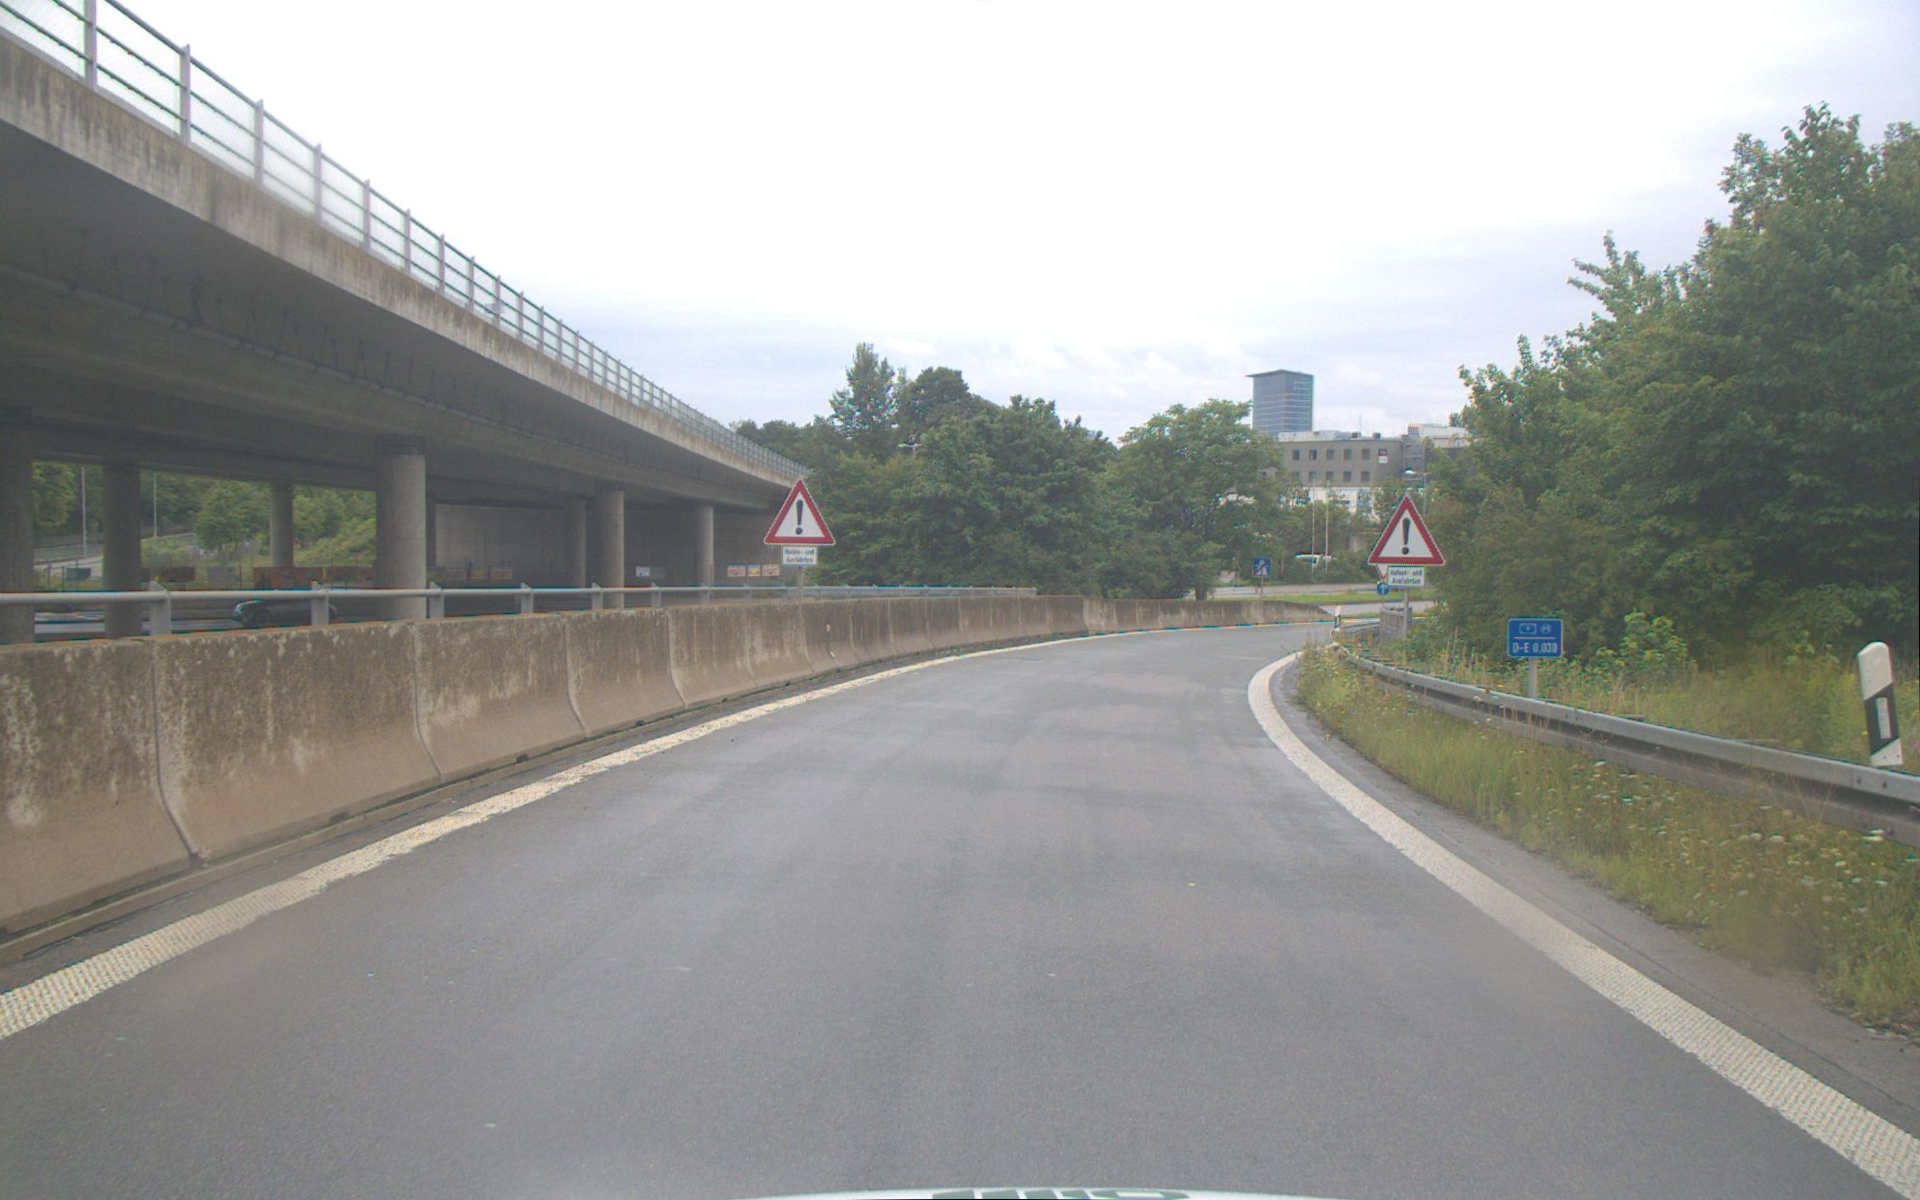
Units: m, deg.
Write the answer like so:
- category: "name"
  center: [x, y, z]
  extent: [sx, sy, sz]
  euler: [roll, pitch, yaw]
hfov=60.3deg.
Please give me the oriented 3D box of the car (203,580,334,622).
- category: "car"
  center: [-28.185, 0.021, 67.504]
  extent: [4.556, 1.610, 1.944]
  euler: [-1, 1, -44]
